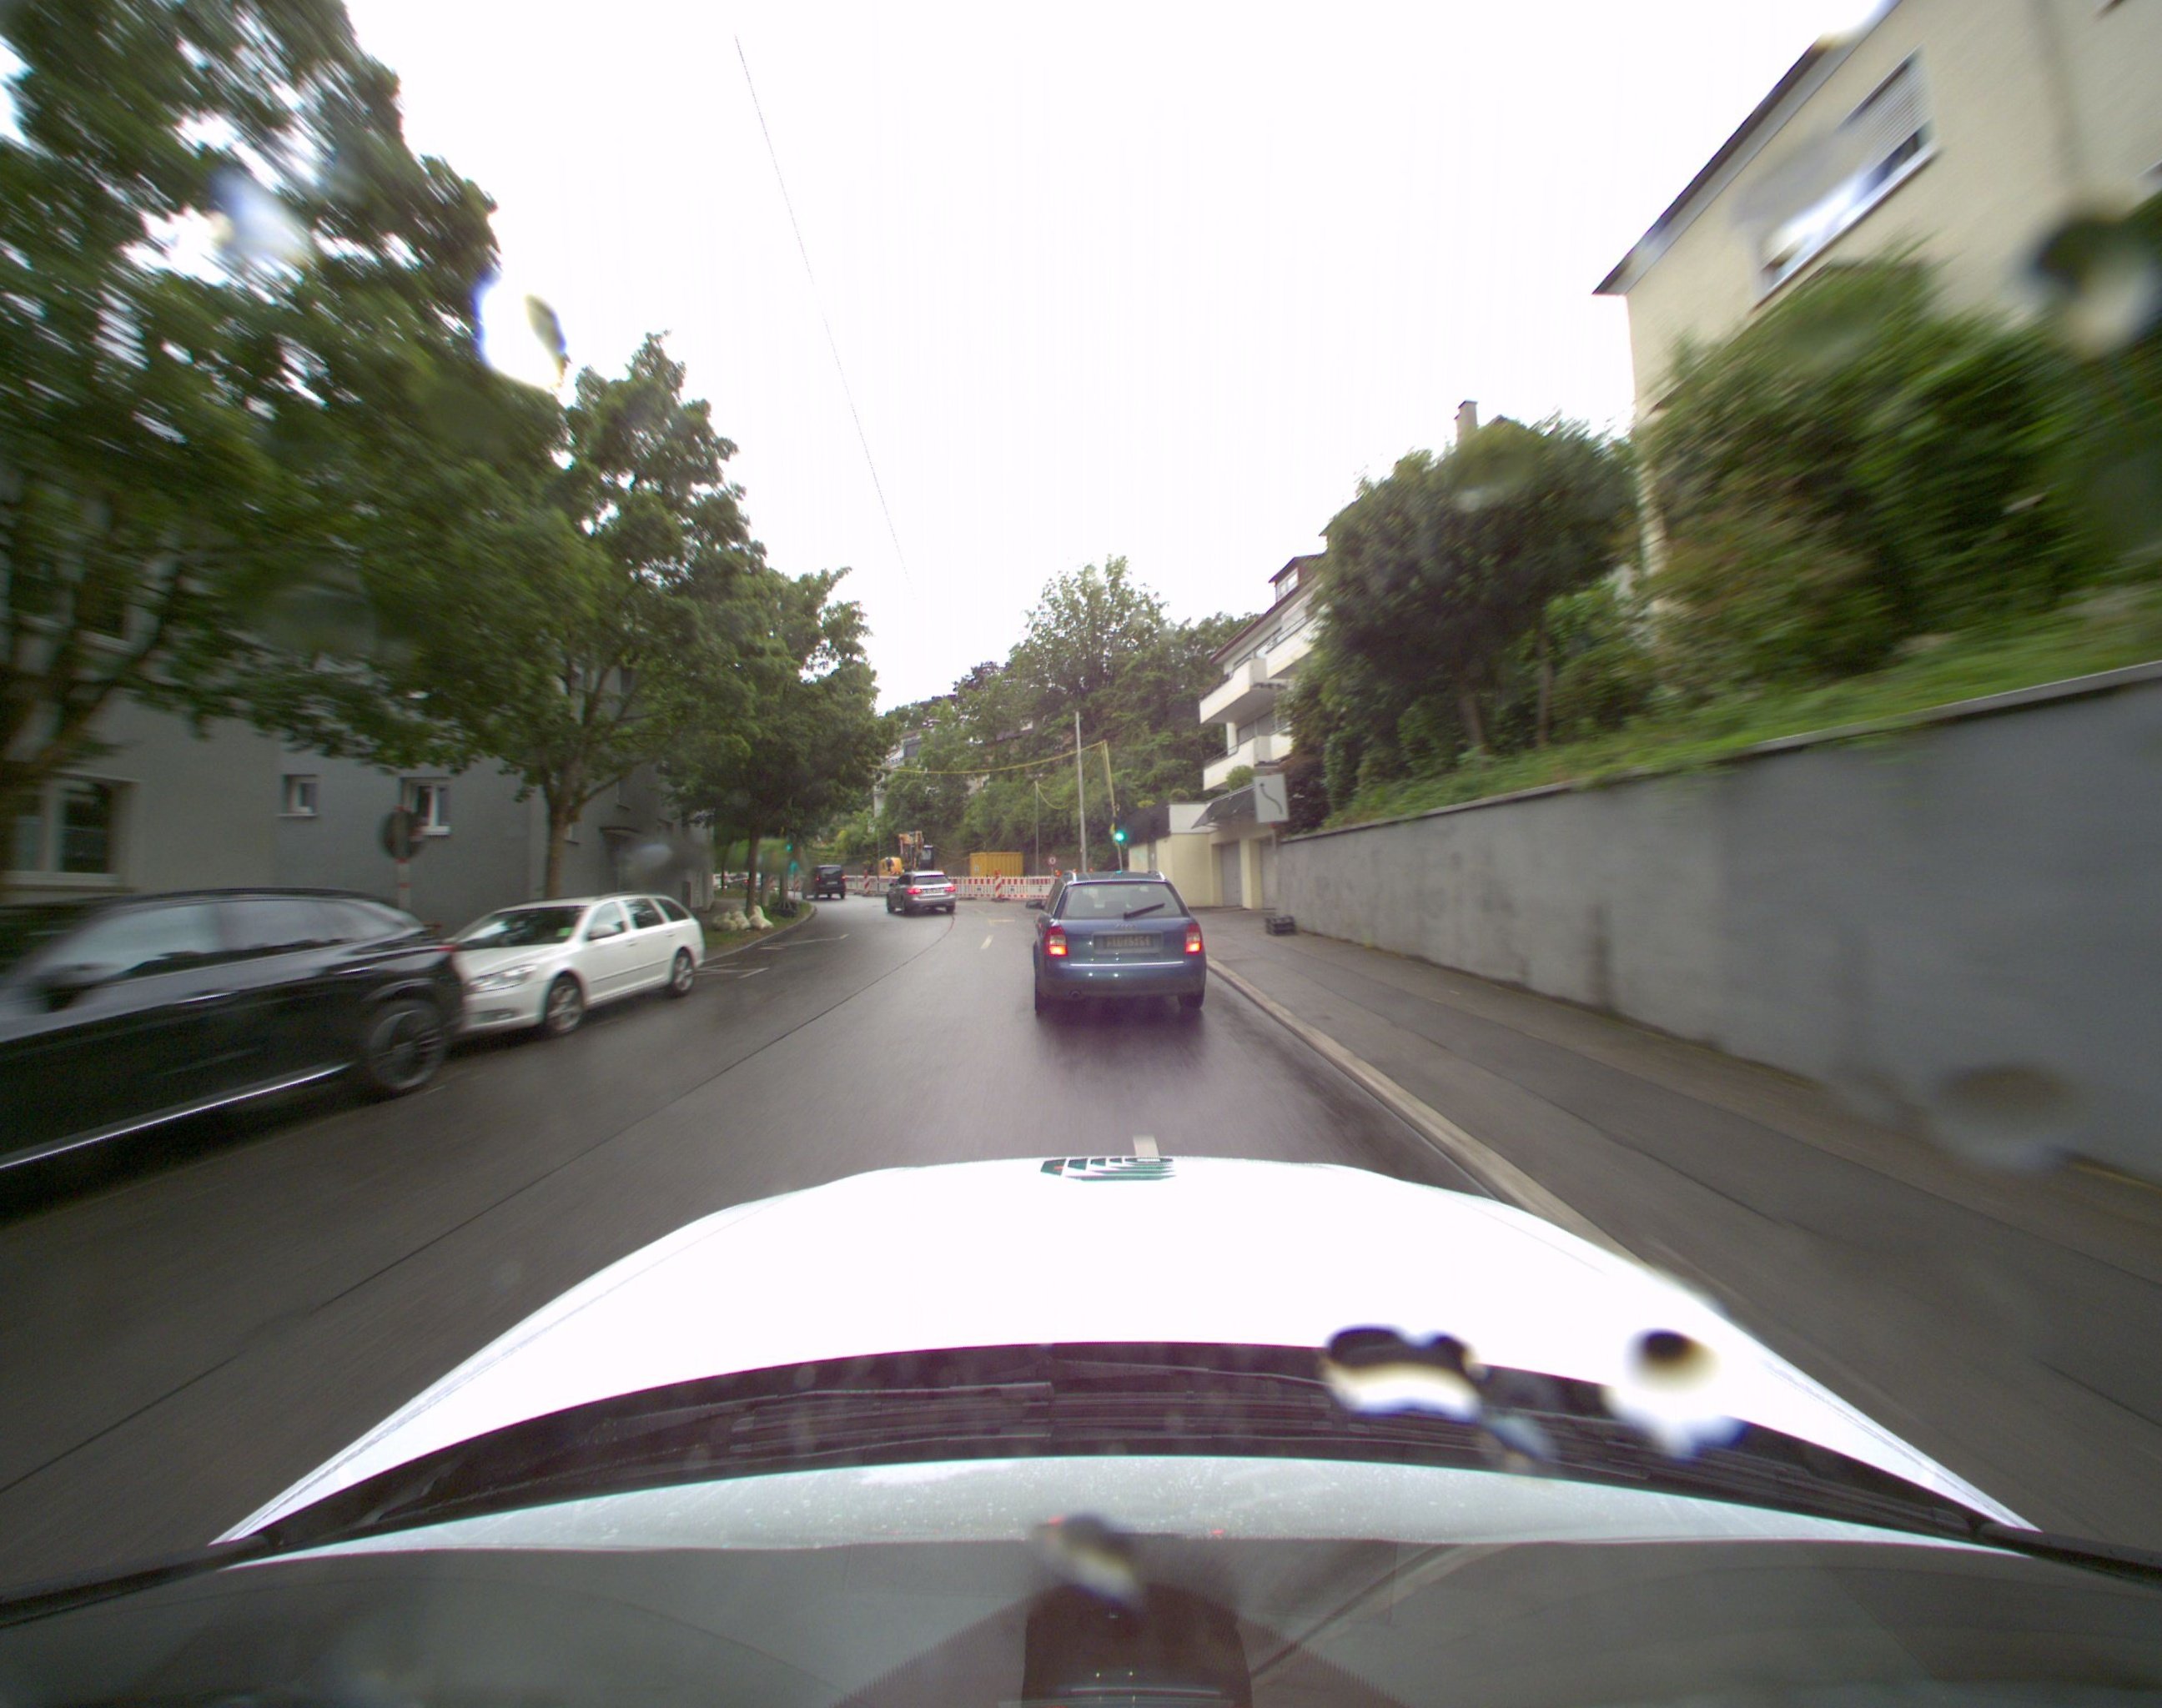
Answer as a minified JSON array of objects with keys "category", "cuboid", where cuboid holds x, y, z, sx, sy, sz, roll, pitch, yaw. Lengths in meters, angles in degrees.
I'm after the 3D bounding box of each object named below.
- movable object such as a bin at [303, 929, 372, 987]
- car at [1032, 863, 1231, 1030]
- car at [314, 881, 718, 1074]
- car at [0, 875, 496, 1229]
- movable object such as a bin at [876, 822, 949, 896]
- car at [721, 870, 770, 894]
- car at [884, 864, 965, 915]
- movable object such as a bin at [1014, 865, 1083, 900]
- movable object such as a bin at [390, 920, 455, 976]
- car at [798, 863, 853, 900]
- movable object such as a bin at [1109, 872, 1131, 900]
[{"category":"movable object such as a bin","cuboid":[-13.580,1.895,14.891,0.651,0.951,0.645,-2,-1,9]},{"category":"car","cuboid":[0.349,0.869,9.438,1.782,1.442,3.958,-2,-1,-4]},{"category":"car","cuboid":[-6.218,1.219,9.736,1.676,1.508,4.315,-6,0,0]},{"category":"car","cuboid":[-6.023,1.040,4.850,1.676,1.608,4.575,-4,0,0]},{"category":"movable object such as a bin","cuboid":[-10.064,0.297,48.107,2.831,4.014,7.271,-2,0,-23]},{"category":"car","cuboid":[-23.552,1.997,57.129,1.736,1.486,4.025,-3,-1,-44]},{"category":"car","cuboid":[-5.663,1.199,29.068,1.935,1.618,4.286,-2,0,-24]},{"category":"movable object such as a bin","cuboid":[-1.578,1.282,38.411,2.002,1.519,3.970,-1,0,-22]},{"category":"movable object such as a bin","cuboid":[-12.221,1.739,15.129,0.651,0.951,0.645,-2,-1,9]},{"category":"car","cuboid":[-14.172,1.530,45.027,2.006,1.794,3.961,-3,-1,-30]},{"category":"movable object such as a bin","cuboid":[1.487,1.208,30.800,0.718,1.032,0.591,-2,-1,-5]}]
